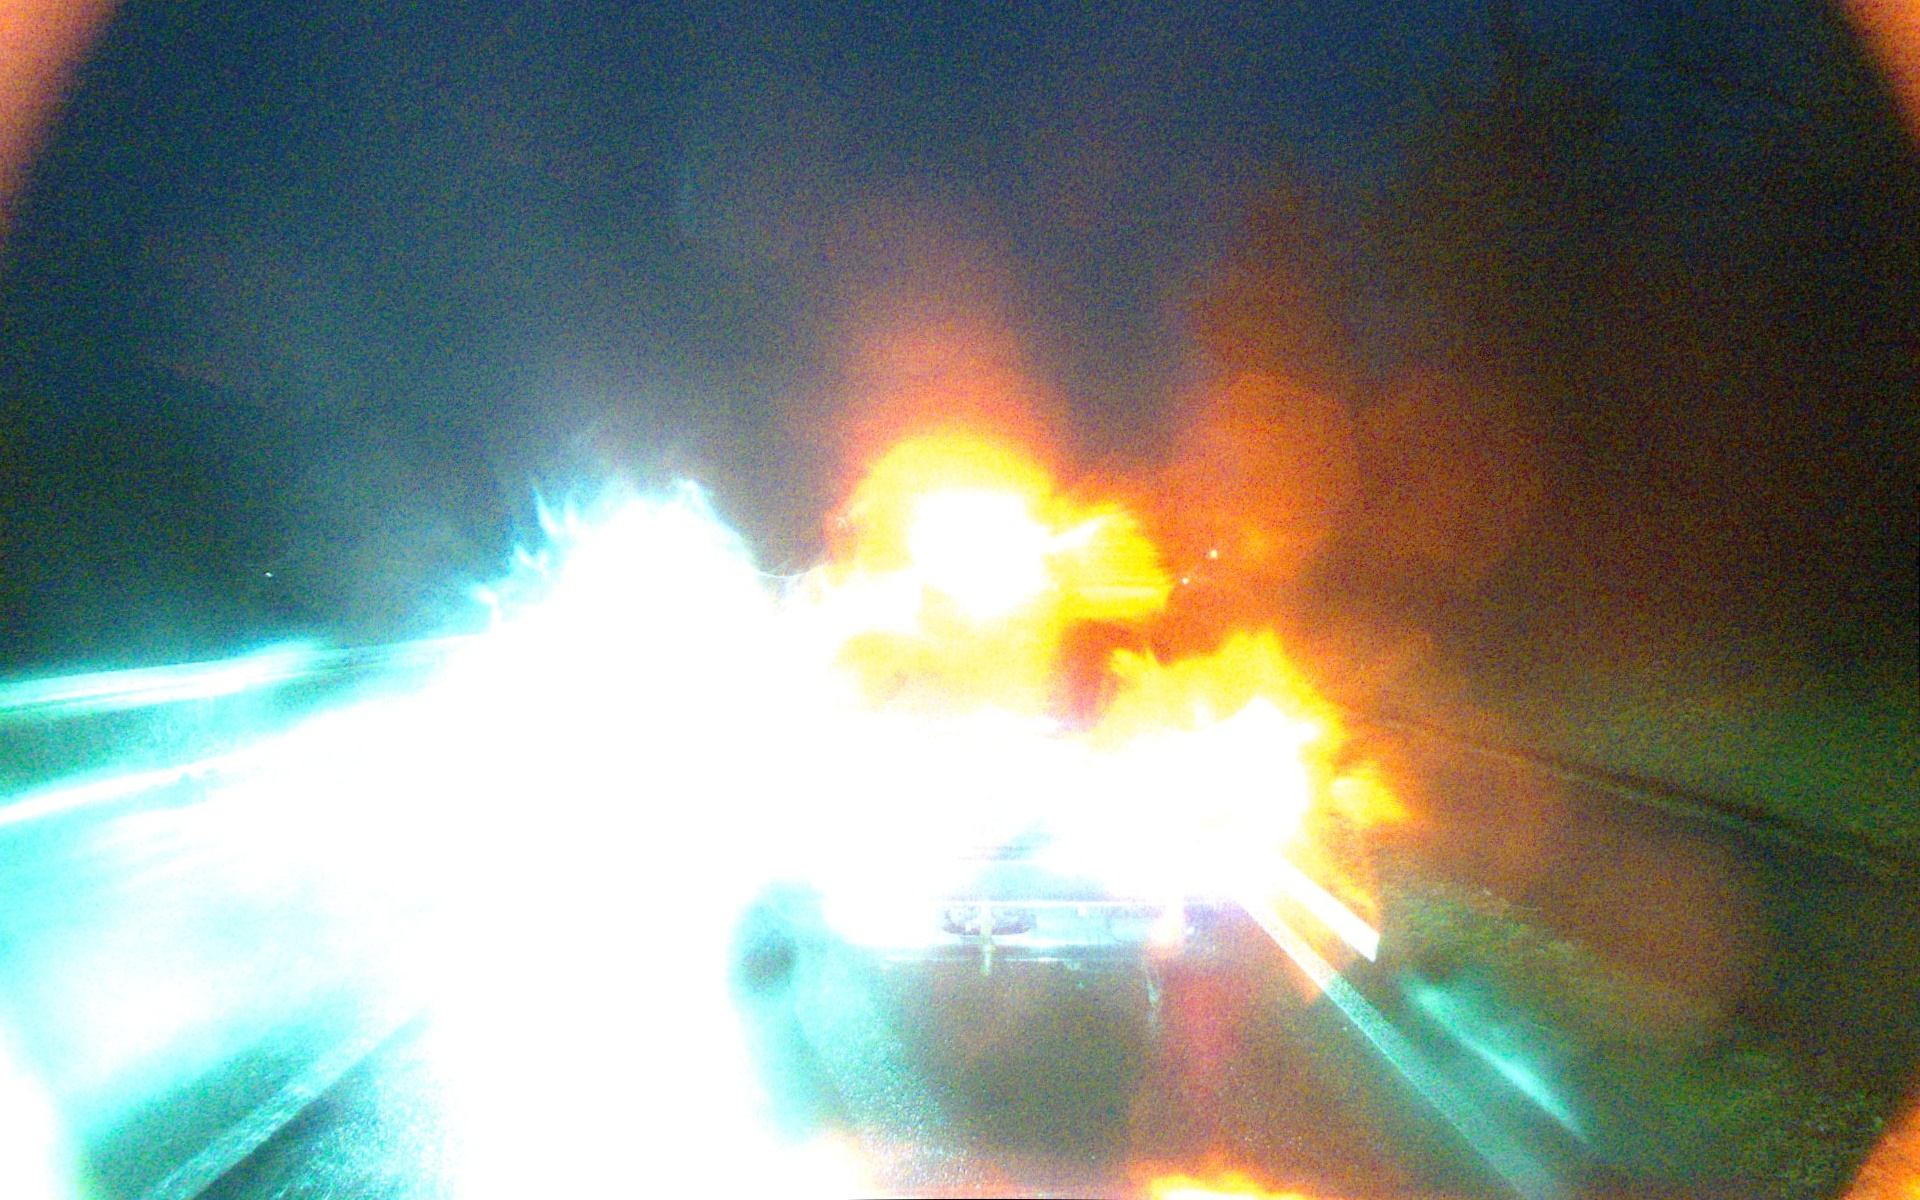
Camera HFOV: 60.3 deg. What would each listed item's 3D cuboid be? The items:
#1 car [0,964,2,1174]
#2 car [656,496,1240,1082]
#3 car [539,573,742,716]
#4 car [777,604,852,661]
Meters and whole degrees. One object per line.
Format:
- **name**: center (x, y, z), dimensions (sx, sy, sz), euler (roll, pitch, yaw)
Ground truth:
- **car**: center (-3.260, 0.604, 1.999), dimensions (1.912, 1.685, 4.122), euler (-1, 0, -2)
- **car**: center (-0.044, 0.576, 6.979), dimensions (1.739, 1.742, 3.999), euler (1, 0, 0)
- **car**: center (-3.882, 0.479, 20.780), dimensions (1.800, 1.573, 4.256), euler (1, 1, -2)
- **car**: center (-4.220, 0.917, 48.541), dimensions (1.865, 1.495, 4.273), euler (2, 0, -2)
